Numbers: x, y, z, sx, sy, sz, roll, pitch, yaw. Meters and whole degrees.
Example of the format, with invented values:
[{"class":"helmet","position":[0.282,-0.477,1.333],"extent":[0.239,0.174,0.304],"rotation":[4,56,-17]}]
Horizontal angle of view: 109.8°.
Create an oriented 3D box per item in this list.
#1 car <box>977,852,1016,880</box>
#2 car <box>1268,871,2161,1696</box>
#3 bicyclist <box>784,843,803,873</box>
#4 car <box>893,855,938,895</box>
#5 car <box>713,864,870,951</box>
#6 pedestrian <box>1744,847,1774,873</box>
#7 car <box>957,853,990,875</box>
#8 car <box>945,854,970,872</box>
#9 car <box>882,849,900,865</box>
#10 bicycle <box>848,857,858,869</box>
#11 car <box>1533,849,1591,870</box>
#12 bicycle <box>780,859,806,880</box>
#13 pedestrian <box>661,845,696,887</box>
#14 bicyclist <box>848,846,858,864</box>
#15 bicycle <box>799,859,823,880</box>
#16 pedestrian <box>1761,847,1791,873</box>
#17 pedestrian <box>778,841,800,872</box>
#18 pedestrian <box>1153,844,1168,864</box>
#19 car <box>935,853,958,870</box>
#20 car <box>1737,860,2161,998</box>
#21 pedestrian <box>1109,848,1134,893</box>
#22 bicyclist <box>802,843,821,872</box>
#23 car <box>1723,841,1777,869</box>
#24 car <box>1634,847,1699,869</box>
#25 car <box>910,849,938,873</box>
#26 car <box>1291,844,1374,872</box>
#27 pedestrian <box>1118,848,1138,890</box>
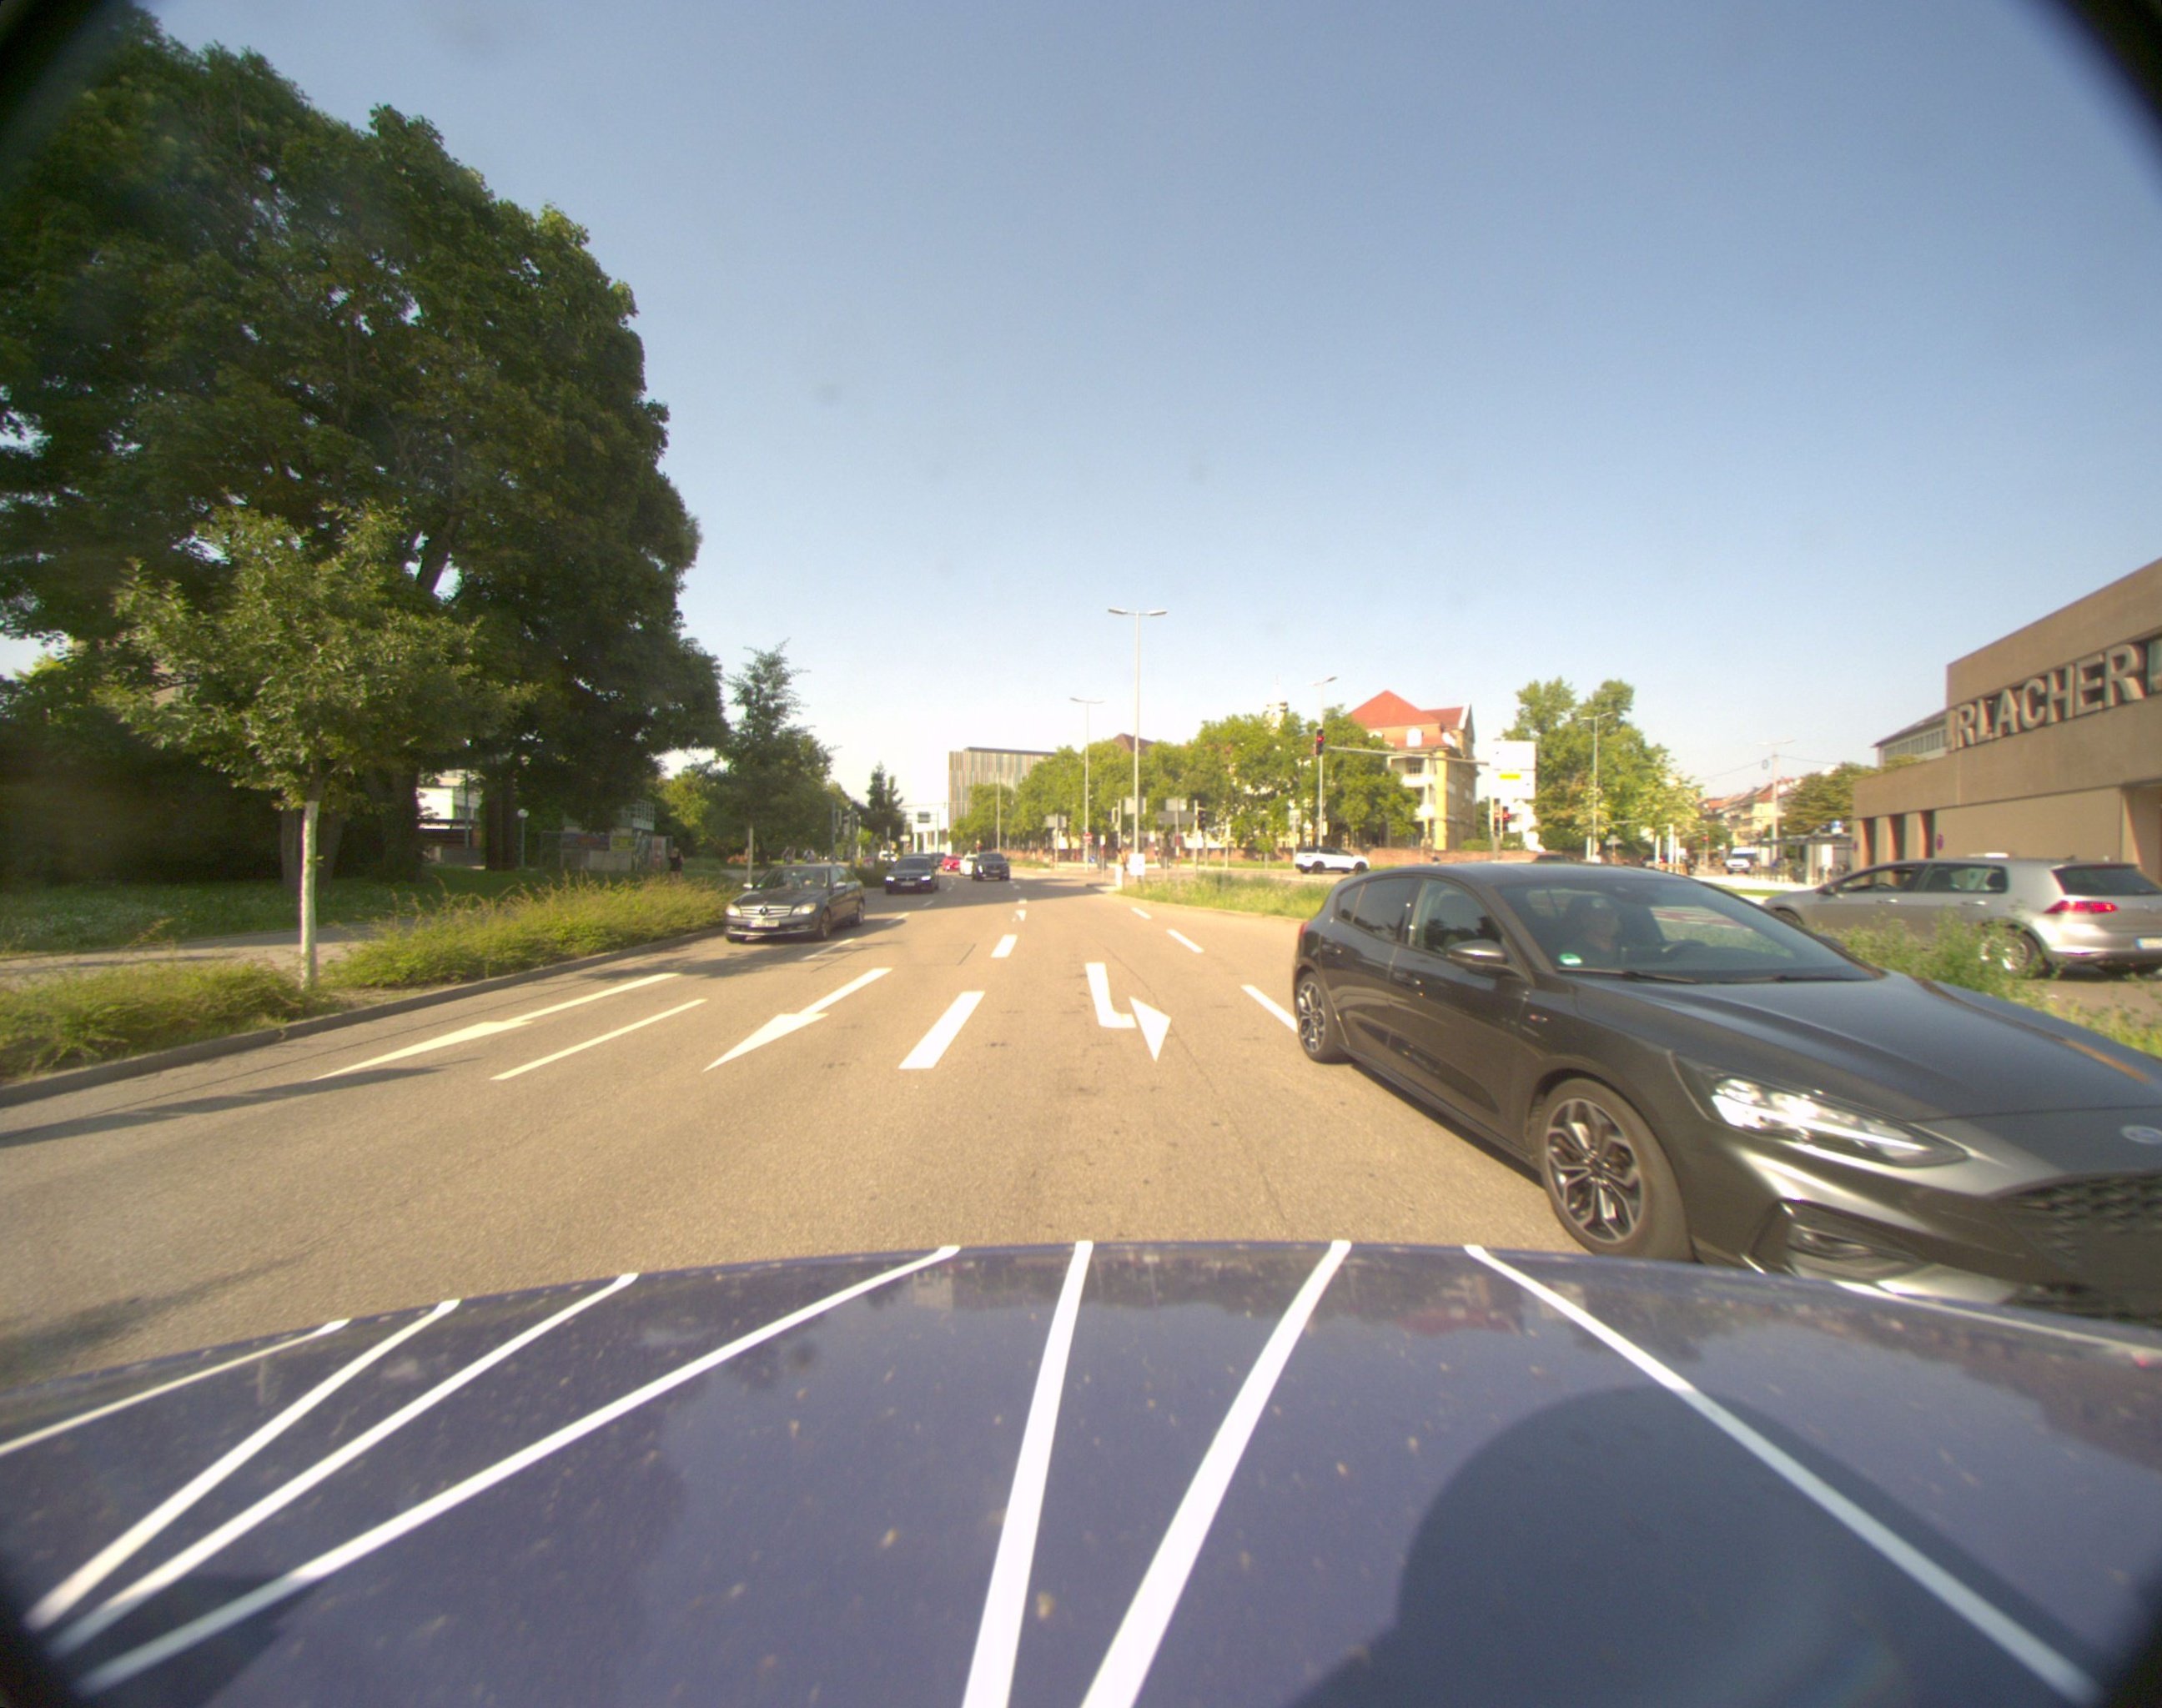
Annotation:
[{"class":"car","position":[-4.877,0.645,43.434],"extent":[1.689,1.483,4.366],"rotation":[0,0,-14]},{"class":"car","position":[2.636,0.874,3.805],"extent":[1.838,1.427,4.547],"rotation":[0,0,-6]},{"class":"bicyclist","position":[-15.676,0.210,41.456],"extent":[0.773,1.584,0.923],"rotation":[0,1,-7]},{"class":"car","position":[-6.796,0.802,31.383],"extent":[1.688,1.483,4.668],"rotation":[0,0,-12]},{"class":"car","position":[-5.604,0.953,15.320],"extent":[1.687,1.434,4.371],"rotation":[0,0,-3]},{"class":"pedestrian","position":[52.587,0.433,58.941],"extent":[1.344,2.002,1.210],"rotation":[0,1,-19]},{"class":"car","position":[-7.619,0.671,53.557],"extent":[1.785,1.474,4.527],"rotation":[0,1,-14]},{"class":"car","position":[-10.782,0.746,66.023],"extent":[1.689,1.483,4.366],"rotation":[0,0,-15]},{"class":"car","position":[-23.870,0.322,95.353],"extent":[1.690,1.930,4.364],"rotation":[0,0,-21]},{"class":"bicycle","position":[-21.927,0.892,73.073],"extent":[0.774,1.111,2.299],"rotation":[-1,1,-22]},{"class":"car","position":[33.981,0.370,53.719],"extent":[3.855,1.489,1.622],"rotation":[0,1,-25]},{"class":"bicycle","position":[-15.676,0.832,41.453],"extent":[0.773,1.111,2.302],"rotation":[0,1,-7]},{"class":"pedestrian","position":[-13.921,0.416,26.294],"extent":[0.726,1.435,0.857],"rotation":[0,1,2]},{"class":"bicyclist","position":[-21.940,0.095,73.072],"extent":[0.774,1.666,0.922],"rotation":[-1,1,-22]},{"class":"bicycle","position":[-14.930,0.831,42.036],"extent":[0.773,1.111,2.302],"rotation":[0,0,-6]},{"class":"pedestrian","position":[54.327,0.440,59.382],"extent":[1.344,2.002,1.210],"rotation":[0,1,-19]},{"class":"pedestrian","position":[-16.982,0.156,44.169],"extent":[0.961,1.772,1.002],"rotation":[2,0,-9]},{"class":"pedestrian","position":[8.042,-0.011,76.890],"extent":[1.080,2.002,1.316],"rotation":[-1,1,-16]},{"class":"car","position":[-13.882,0.741,78.252],"extent":[1.785,1.683,4.526],"rotation":[0,1,-17]},{"class":"car","position":[11.739,0.833,10.378],"extent":[1.818,1.425,4.223],"rotation":[0,1,-2]},{"class":"pedestrian","position":[1.517,0.606,28.303],"extent":[0.667,1.645,0.780],"rotation":[1,1,30]},{"class":"bicyclist","position":[-14.938,0.191,42.127],"extent":[0.773,1.583,0.923],"rotation":[0,1,-7]},{"class":"car","position":[64.331,0.127,73.026],"extent":[5.559,2.437,1.996],"rotation":[-3,1,-27]},{"class":"car","position":[45.463,0.293,59.032],"extent":[4.377,1.624,1.996],"rotation":[0,0,-21]},{"class":"car","position":[-11.023,0.452,53.195],"extent":[1.784,1.597,4.415],"rotation":[0,1,-13]},{"class":"car","position":[15.241,0.272,46.217],"extent":[4.372,1.623,1.999],"rotation":[0,-1,-7]},{"class":"pedestrian","position":[1.897,0.592,30.663],"extent":[0.668,1.689,0.691],"rotation":[0,1,-7]}]
